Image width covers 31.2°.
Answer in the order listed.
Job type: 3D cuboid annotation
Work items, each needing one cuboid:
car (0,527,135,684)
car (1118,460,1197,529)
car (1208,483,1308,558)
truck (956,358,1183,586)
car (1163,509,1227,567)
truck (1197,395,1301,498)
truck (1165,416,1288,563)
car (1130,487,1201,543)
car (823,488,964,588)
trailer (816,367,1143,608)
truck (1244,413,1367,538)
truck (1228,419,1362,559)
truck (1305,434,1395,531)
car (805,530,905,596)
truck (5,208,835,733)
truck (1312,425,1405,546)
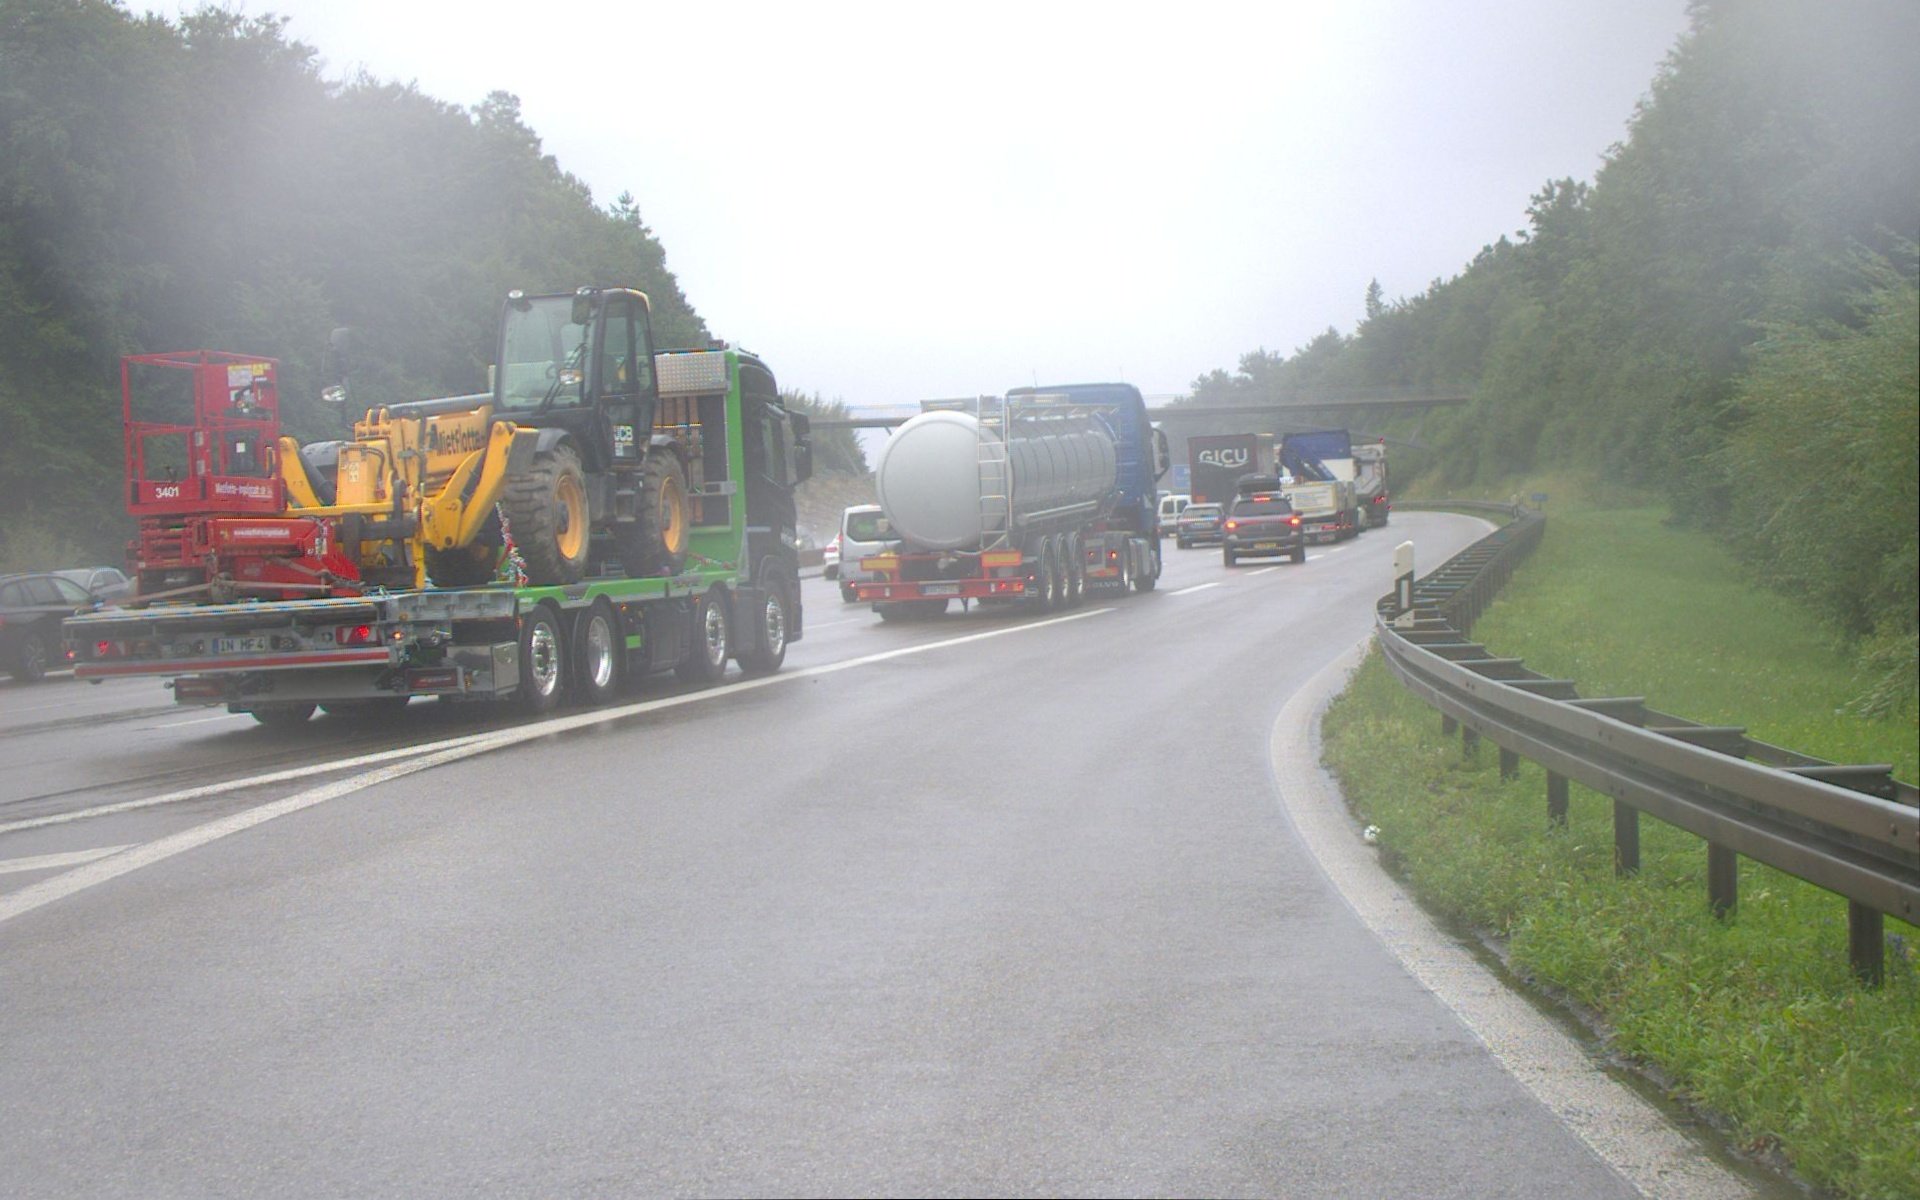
[{"bbox_3d":[-12.770,0.043,45.902,1.799,2.007,3.998,1,1,13],"label":"car"},{"bbox_3d":[9.102,-4.824,157.889,3.096,2.992,6.771,1,1,8],"label":"car"},{"bbox_3d":[6.955,-1.828,79.854,1.994,1.630,3.998,1,1,9],"label":"car"},{"bbox_3d":[1.984,-2.228,59.930,2.878,3.681,5.054,-2,2,13],"label":"truck"},{"bbox_3d":[7.881,-2.065,114.981,1.798,1.897,3.999,1,0,9],"label":"car"},{"bbox_3d":[13.024,-6.798,154.014,3.578,4.081,10.875,-2,0,10],"label":"truck"},{"bbox_3d":[10.564,-4.239,135.012,3.756,5.480,10.168,1,1,10],"label":"truck"},{"bbox_3d":[11.661,-4.770,194.550,3.247,2.992,6.770,1,1,10],"label":"car"},{"bbox_3d":[-1.219,-1.181,64.501,1.820,1.761,3.999,-2,1,11],"label":"car"},{"bbox_3d":[0.527,-1.772,53.367,2.875,3.277,10.073,-2,2,13],"label":"trailer"},{"bbox_3d":[12.774,-4.472,126.354,3.509,4.253,10.598,1,1,11],"label":"truck"},{"bbox_3d":[10.907,-3.587,110.744,3.601,4.091,11.557,-3,2,8],"label":"truck"},{"bbox_3d":[17.190,-5.101,151.519,3.756,3.957,11.057,1,1,6],"label":"truck"},{"bbox_3d":[-2.960,-1.060,97.526,1.994,1.766,4.133,-2,1,10],"label":"car"},{"bbox_3d":[-4.091,-1.082,30.239,2.832,3.576,11.792,-3,1,13],"label":"truck"},{"bbox_3d":[20.094,-5.680,172.808,4.337,5.744,9.728,1,1,8],"label":"truck"}]
